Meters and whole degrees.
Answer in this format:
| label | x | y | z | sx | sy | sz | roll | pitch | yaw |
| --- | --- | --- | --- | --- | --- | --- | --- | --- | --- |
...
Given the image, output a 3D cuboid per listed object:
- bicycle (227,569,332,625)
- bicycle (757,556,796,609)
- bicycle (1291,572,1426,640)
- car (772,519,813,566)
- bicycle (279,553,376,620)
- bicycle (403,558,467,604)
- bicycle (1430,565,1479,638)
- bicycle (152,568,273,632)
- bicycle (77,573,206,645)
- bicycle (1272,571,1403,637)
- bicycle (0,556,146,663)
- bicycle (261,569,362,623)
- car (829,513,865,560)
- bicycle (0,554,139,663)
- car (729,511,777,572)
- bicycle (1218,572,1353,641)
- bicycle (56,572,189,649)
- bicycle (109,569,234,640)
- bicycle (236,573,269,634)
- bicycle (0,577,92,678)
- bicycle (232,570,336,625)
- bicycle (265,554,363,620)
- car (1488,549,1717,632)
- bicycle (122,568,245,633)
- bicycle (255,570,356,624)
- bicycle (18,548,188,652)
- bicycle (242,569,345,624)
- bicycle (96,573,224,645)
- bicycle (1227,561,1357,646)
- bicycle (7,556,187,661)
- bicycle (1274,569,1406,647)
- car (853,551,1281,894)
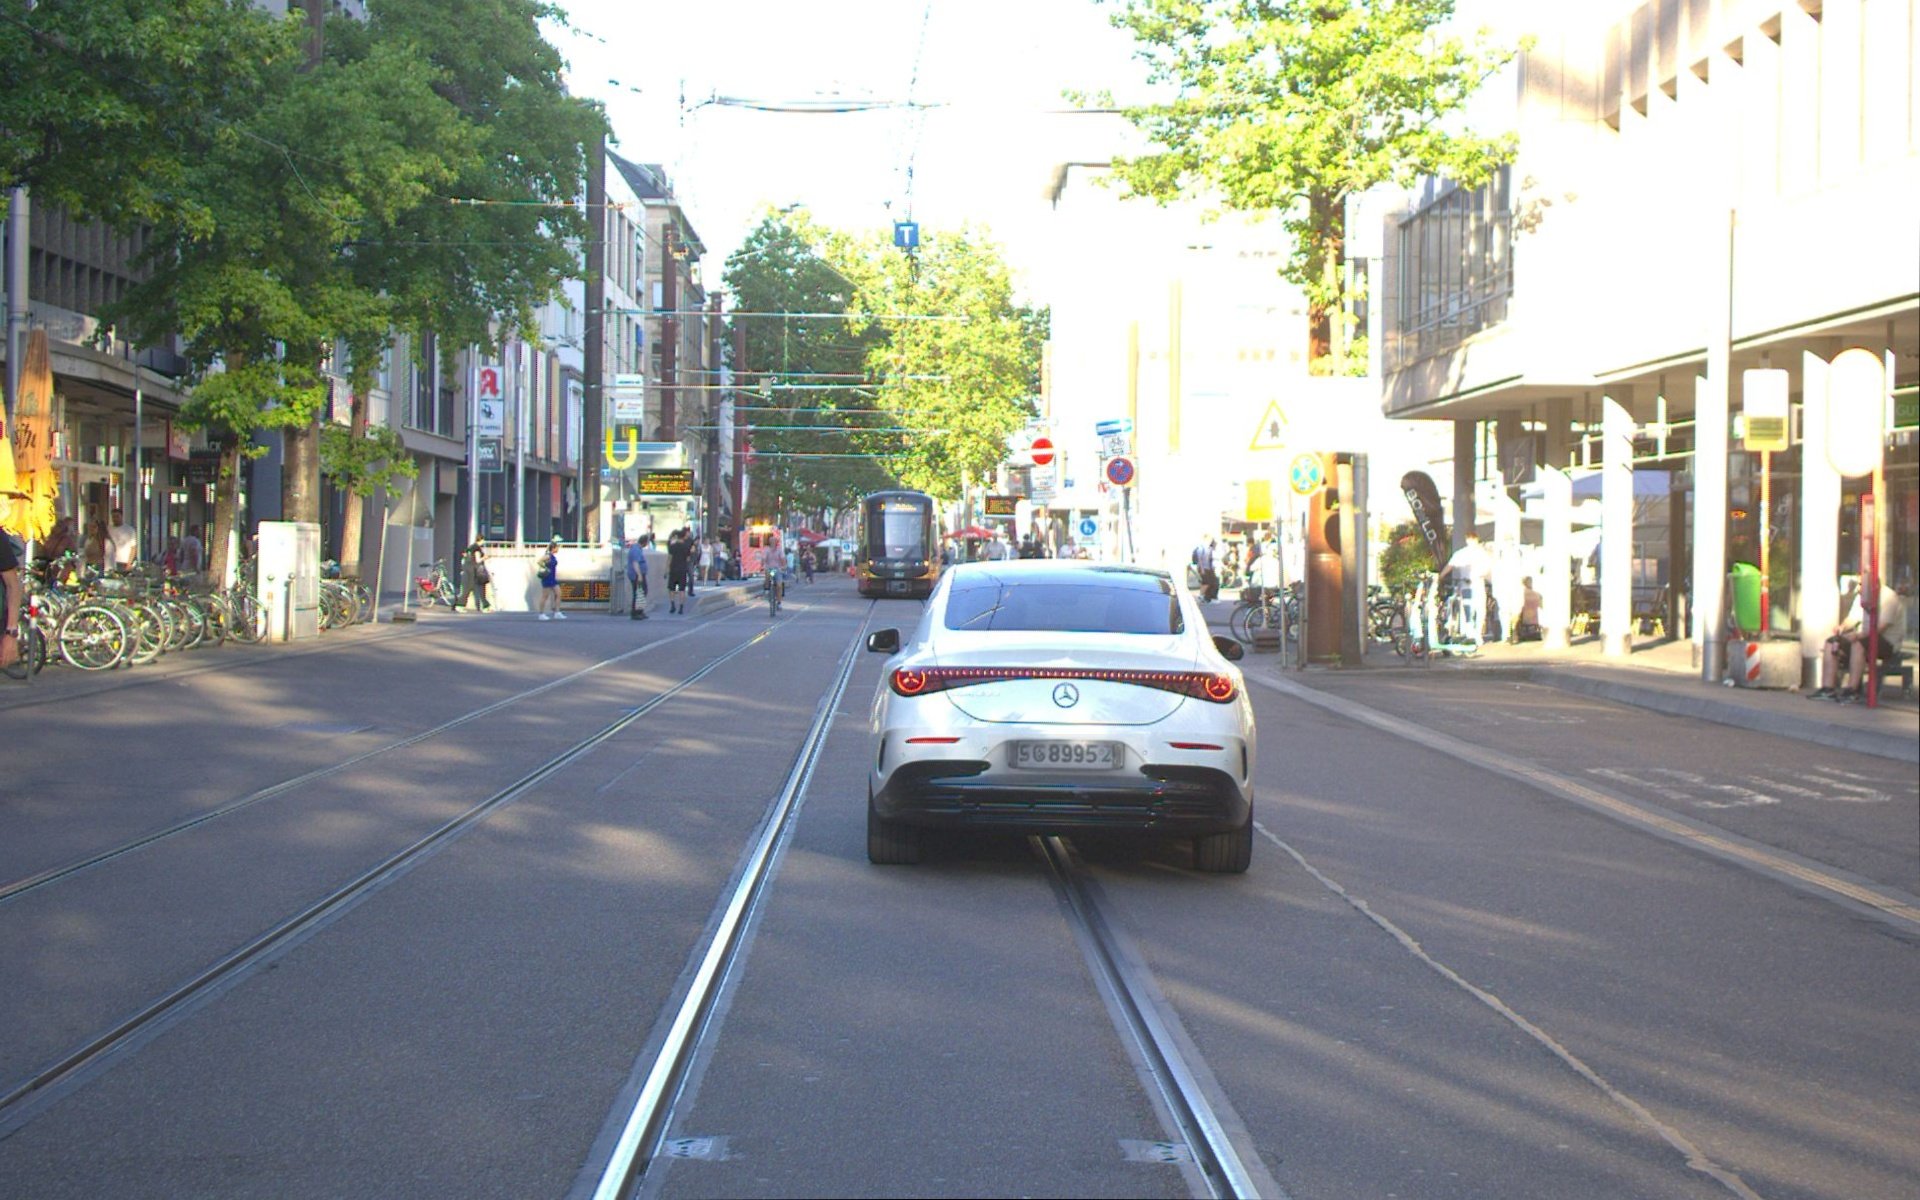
| label | x | y | z | sx | sy | sz | roll | pitch | yaw |
| --- | --- | --- | --- | --- | --- | --- | --- | --- | --- |
| bicycle | -10.310 | -0.044 | 52.124 | 1.492 | 0.780 | 0.344 | 2 | 1 | 1 |
| bicycle | -4.164 | -0.409 | 78.193 | 0.800 | 1.138 | 2.257 | 3 | 1 | -2 |
| bicycle | 6.504 | 0.097 | 56.116 | 2.113 | 1.092 | 0.610 | 0 | 1 | -13 |
| car | -8.924 | -3.056 | 183.445 | 1.910 | 2.452 | 5.275 | 1 | 1 | -1 |
| bicycle | -10.182 | -0.217 | 55.327 | 1.492 | 1.025 | 0.345 | 2 | 1 | -11 |
| bicycle | -11.674 | -0.430 | 76.511 | 0.719 | 1.006 | 2.038 | 1 | 1 | 13 |
| bicycle | 7.880 | 0.016 | 54.802 | 0.564 | 1.124 | 1.929 | -1 | 1 | 2 |
| bicycle | -9.835 | 0.003 | 45.258 | 1.492 | 0.780 | 0.344 | 2 | 1 | 1 |
| bicycle | -10.196 | 0.108 | 42.829 | 1.492 | 0.838 | 0.344 | 2 | 1 | 1 |
| bicycle | 6.396 | 0.067 | 58.314 | 2.113 | 1.092 | 0.610 | 0 | 1 | -12 |
| bicycle | -9.569 | 0.095 | 36.382 | 1.788 | 1.073 | 0.377 | 2 | 1 | -5 |
| bicycle | -10.167 | -0.063 | 53.932 | 1.492 | 0.780 | 0.344 | 2 | 1 | 1 |
| car | -7.045 | -3.961 | 215.502 | 2.099 | 2.887 | 5.275 | 1 | 1 | -1 |
| bicycle | -9.531 | 0.081 | 35.927 | 1.788 | 1.073 | 0.377 | 2 | 1 | -5 |
| car | -9.908 | -2.799 | 164.646 | 1.993 | 2.887 | 5.275 | 1 | 1 | -1 |
| bicycle | 5.379 | 0.111 | 56.774 | 2.113 | 1.092 | 0.610 | 1 | 0 | -12 |
| bicycle | -10.092 | 0.123 | 41.456 | 1.492 | 0.873 | 0.345 | 2 | 1 | -7 |
| bicycle | -10.053 | 0.058 | 43.845 | 1.492 | 0.838 | 0.344 | 2 | 1 | 1 |
| bicycle | -9.503 | 0.040 | 46.197 | 0.343 | 0.780 | 1.405 | 2 | 1 | -9 |
| bicycle | -9.214 | 0.246 | 33.114 | 1.596 | 0.927 | 0.377 | 2 | 1 | 6 |
| bicycle | -10.313 | -0.044 | 52.479 | 1.492 | 0.780 | 0.344 | 2 | 1 | 1 |
| bicycle | -10.309 | -0.209 | 54.887 | 1.492 | 1.006 | 0.345 | 2 | 1 | -11 |
| car | 11.758 | -0.178 | 63.016 | 3.801 | 1.468 | 1.649 | 1 | 1 | -6 |
| bicycle | -10.058 | 0.005 | 44.563 | 1.492 | 0.780 | 0.344 | 2 | 1 | 1 |
| bicycle | -10.194 | -0.052 | 53.562 | 1.492 | 0.780 | 0.344 | 2 | 1 | 1 |
| bicycle | -10.000 | 0.003 | 40.129 | 1.846 | 1.137 | 0.377 | 2 | 1 | 1 |
| bicycle | -10.310 | -0.058 | 53.198 | 1.492 | 0.780 | 0.344 | 2 | 1 | 1 |
| bicycle | -10.056 | 0.116 | 43.231 | 1.492 | 0.838 | 0.344 | 2 | 1 | 1 |
| bicycle | 5.190 | 0.046 | 53.786 | 1.907 | 1.277 | 0.610 | -1 | 1 | -12 |
| bicycle | -9.437 | 0.089 | 37.619 | 1.846 | 1.073 | 0.377 | 2 | 1 | -5 |
| bicycle | 5.846 | 0.120 | 52.872 | 1.907 | 1.152 | 0.610 | -1 | 1 | -12 |
| car | 0.433 | 0.517 | 17.352 | 1.857 | 1.450 | 4.175 | 2 | 1 | -1 |
